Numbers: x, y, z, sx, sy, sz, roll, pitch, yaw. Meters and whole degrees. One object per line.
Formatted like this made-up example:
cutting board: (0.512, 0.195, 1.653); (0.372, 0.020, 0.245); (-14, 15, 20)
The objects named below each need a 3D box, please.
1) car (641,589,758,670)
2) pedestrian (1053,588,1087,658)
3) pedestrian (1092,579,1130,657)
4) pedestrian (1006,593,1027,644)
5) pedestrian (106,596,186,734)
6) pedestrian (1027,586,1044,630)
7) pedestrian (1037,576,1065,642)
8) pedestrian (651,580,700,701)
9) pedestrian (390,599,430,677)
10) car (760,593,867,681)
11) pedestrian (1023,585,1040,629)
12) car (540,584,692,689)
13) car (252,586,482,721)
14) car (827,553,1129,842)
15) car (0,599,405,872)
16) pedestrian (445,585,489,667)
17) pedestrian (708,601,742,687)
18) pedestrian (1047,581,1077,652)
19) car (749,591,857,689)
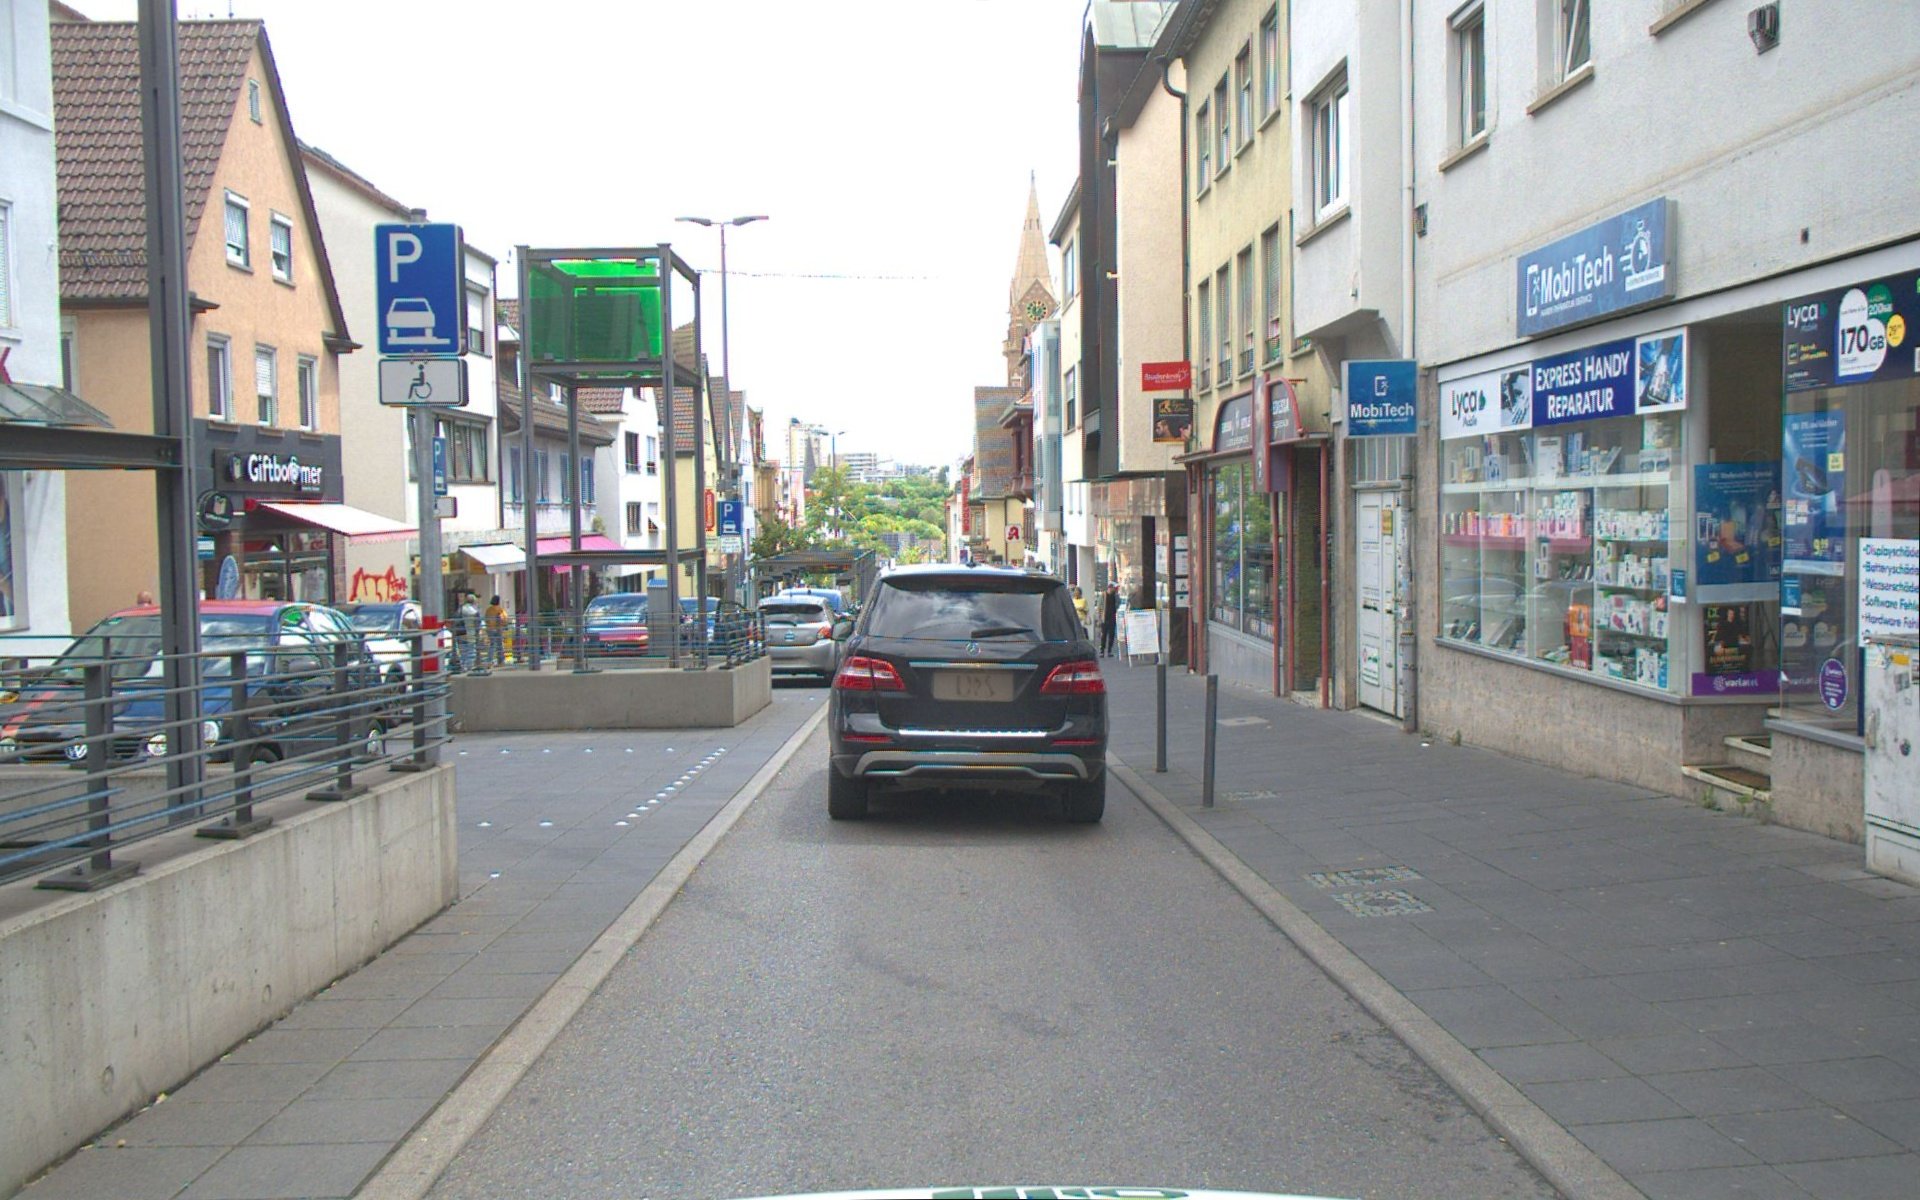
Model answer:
car: (-5.269, 0.552, 33.889); (1.703, 1.501, 3.885); (2, 1, 1)
pedestrian: (2.684, 0.555, 40.459); (0.697, 1.659, 0.835); (-2, 0, -2)
pedestrian: (3.458, 0.412, 37.996); (0.650, 1.718, 0.542); (-4, 0, -8)
pedestrian: (1.921, 0.614, 56.008); (0.609, 1.718, 0.565); (1, 0, -8)
pedestrian: (-10.352, 0.817, 21.055); (0.626, 1.718, 0.827); (0, 0, -3)
pedestrian: (2.981, 0.320, 65.194); (0.562, 1.718, 0.565); (0, 0, -8)
pedestrian: (2.484, 0.240, 45.038); (0.696, 1.784, 0.787); (0, 0, -2)
pedestrian: (-4.092, 0.566, 23.823); (0.522, 1.701, 0.901); (0, 0, 1)
pedestrian: (-11.557, 0.784, 34.761); (0.553, 1.601, 0.716); (-2, 0, -2)
car: (-2.962, 0.725, 34.312); (1.917, 1.668, 4.313); (1, 0, -2)
pedestrian: (2.832, 0.290, 65.840); (0.562, 1.718, 0.565); (1, 0, -8)
car: (-5.565, 0.561, 27.193); (1.704, 1.570, 4.192); (1, 0, -2)
car: (-7.752, 0.651, 22.027); (1.645, 1.598, 4.121); (1, 0, -2)
car: (0.010, 0.615, 12.333); (1.863, 1.777, 3.997); (1, 0, -3)
car: (-5.009, 0.752, 11.075); (1.538, 1.501, 3.852); (0, 0, -4)
pedestrian: (-10.388, 0.545, 34.845); (0.633, 1.718, 0.663); (0, -1, 38)
pedestrian: (-4.043, 0.754, 28.468); (0.457, 1.456, 0.492); (-2, 0, -2)
pedestrian: (2.608, 0.417, 42.327); (0.696, 1.784, 0.785); (0, 0, -2)
car: (-2.634, 0.644, 28.406); (1.587, 1.559, 3.669); (1, 0, -2)
